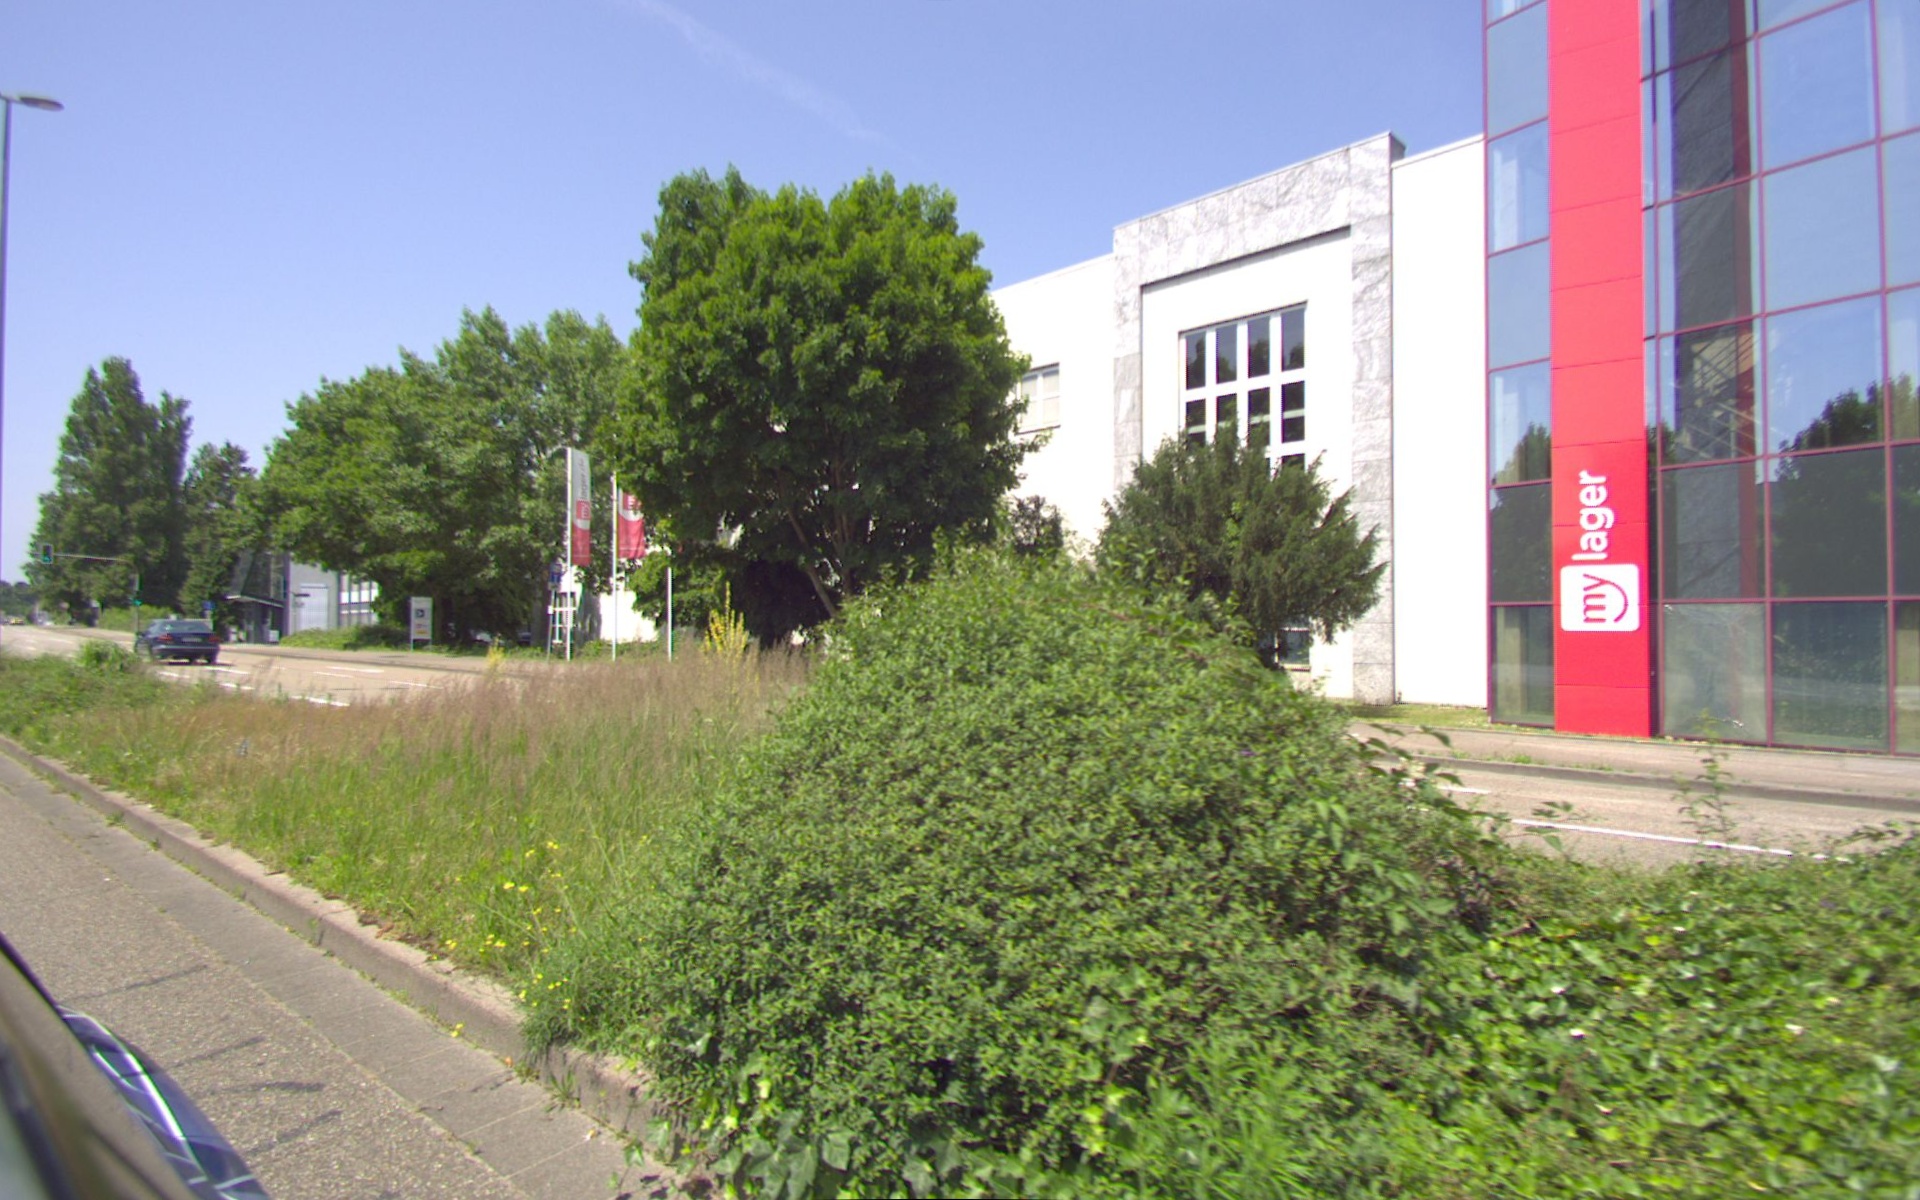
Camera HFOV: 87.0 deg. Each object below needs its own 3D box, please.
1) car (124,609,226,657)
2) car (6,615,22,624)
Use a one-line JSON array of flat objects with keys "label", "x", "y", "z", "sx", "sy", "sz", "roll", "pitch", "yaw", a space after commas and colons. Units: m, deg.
[{"label": "car", "x": -25.256, "y": 1.071, "z": 32.511, "sx": 4.244, "sy": 1.427, "sz": 1.704, "roll": -1, "pitch": -4, "yaw": 41}, {"label": "car", "x": -173.152, "y": 3.632, "z": 185.226, "sx": 4.288, "sy": 1.572, "sz": 1.873, "roll": -1, "pitch": -3, "yaw": 44}]
